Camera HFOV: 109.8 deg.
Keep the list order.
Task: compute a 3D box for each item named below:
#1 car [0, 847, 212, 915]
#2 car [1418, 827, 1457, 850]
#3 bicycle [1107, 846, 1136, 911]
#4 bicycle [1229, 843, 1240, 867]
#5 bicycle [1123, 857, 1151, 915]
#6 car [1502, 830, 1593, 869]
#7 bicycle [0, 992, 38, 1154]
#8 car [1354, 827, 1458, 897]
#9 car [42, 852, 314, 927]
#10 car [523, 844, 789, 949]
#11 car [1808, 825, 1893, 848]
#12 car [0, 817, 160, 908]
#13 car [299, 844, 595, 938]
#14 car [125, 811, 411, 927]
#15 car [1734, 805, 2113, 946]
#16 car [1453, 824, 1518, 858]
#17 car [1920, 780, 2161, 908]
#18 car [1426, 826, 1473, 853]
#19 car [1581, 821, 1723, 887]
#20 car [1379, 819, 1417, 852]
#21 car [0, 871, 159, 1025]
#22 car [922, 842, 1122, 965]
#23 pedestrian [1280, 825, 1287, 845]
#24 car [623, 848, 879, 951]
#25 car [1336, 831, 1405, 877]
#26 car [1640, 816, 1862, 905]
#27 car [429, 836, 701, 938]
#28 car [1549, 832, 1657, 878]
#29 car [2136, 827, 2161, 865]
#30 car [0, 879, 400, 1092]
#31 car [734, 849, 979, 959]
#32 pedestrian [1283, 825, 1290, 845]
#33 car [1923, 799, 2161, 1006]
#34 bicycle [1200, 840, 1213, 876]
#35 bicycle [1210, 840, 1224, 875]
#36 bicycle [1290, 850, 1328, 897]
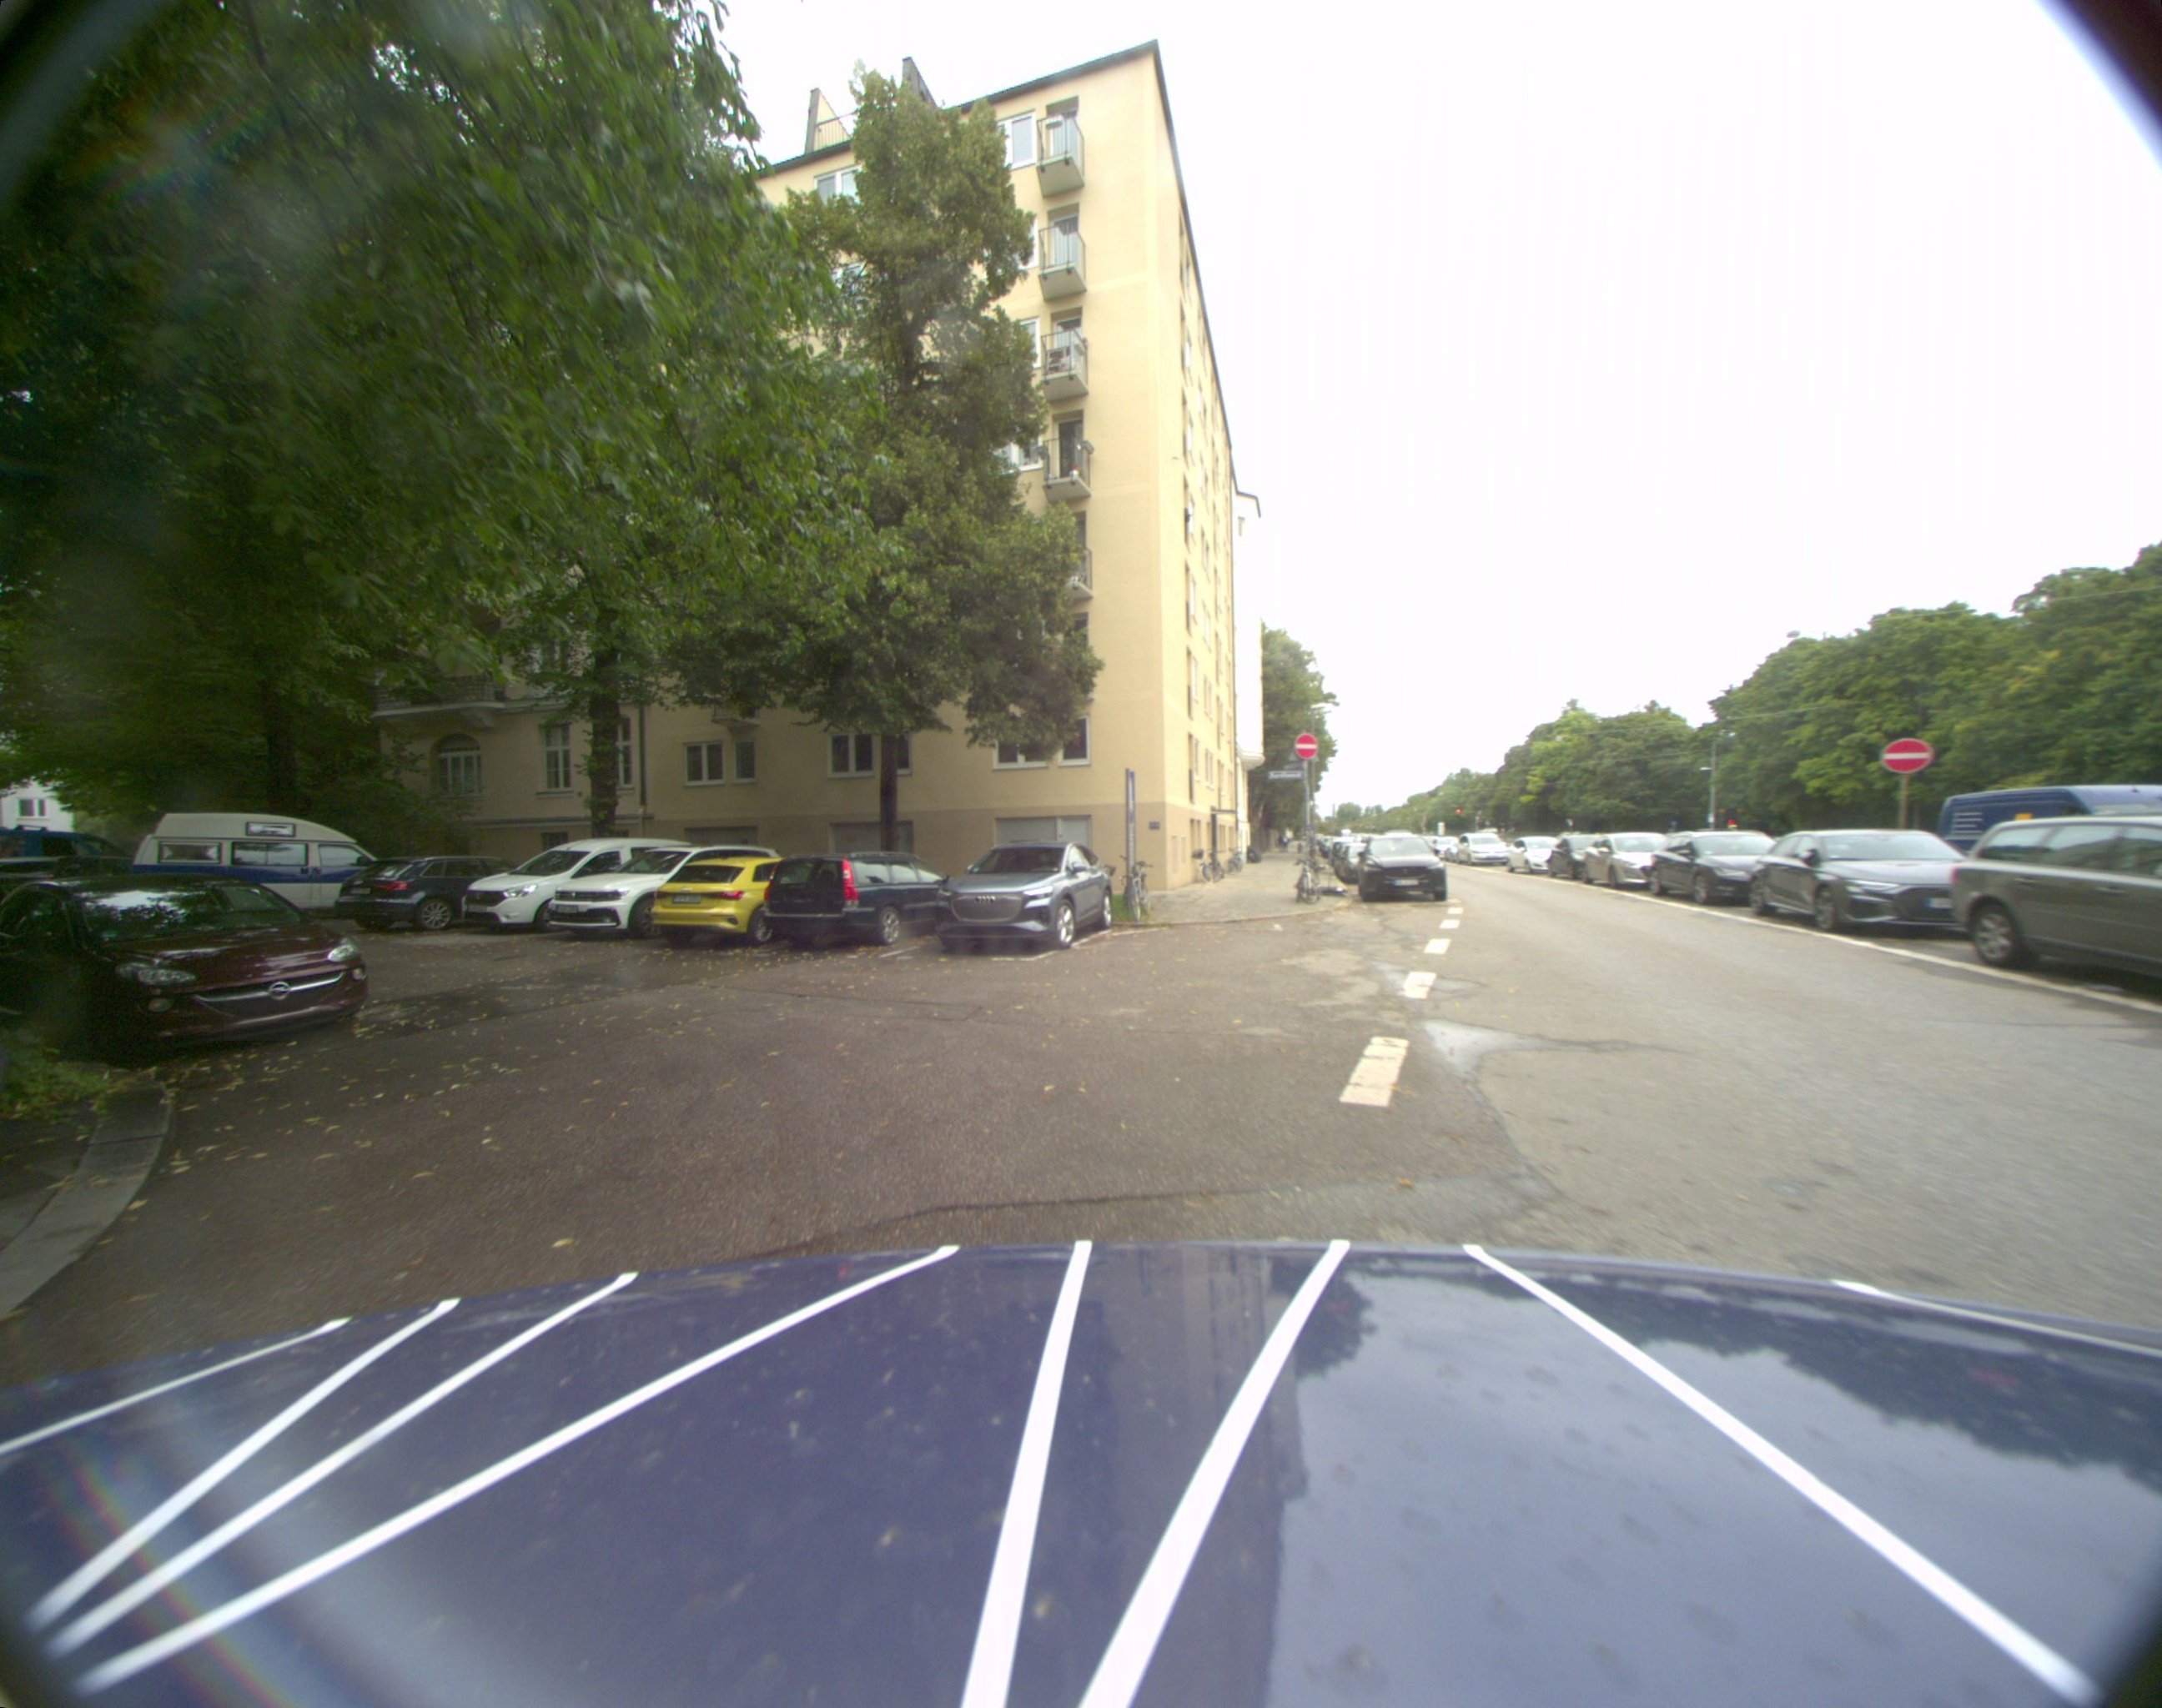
[{"bbox_3d":[-26.341,0.658,20.072,4.116,1.594,1.898,-2,2,-38],"label":"car"},{"bbox_3d":[26.297,-1.166,56.175,1.948,1.676,4.003,0,2,15],"label":"car"},{"bbox_3d":[0.824,0.467,15.249,0.282,1.224,1.240,0,2,16],"label":"bicycle"},{"bbox_3d":[6.691,0.022,33.197,0.462,0.999,1.320,-1,1,11],"label":"bicycle"},{"bbox_3d":[1.100,0.596,14.883,0.282,1.055,1.240,0,2,16],"label":"bicycle"},{"bbox_3d":[18.671,-0.208,30.635,1.990,1.448,4.286,-1,1,15],"label":"car"},{"bbox_3d":[-6.395,1.268,3.952,0.249,0.875,1.081,0,2,26],"label":"bicycle"},{"bbox_3d":[8.167,0.139,19.511,2.126,1.556,4.512,-2,1,19],"label":"car"},{"bbox_3d":[-22.957,0.822,19.620,4.116,1.594,1.899,-2,2,-36],"label":"car"},{"bbox_3d":[-7.746,0.663,14.415,1.914,1.611,4.249,-1,1,15],"label":"car"},{"bbox_3d":[50.538,-1.164,50.031,1.996,1.438,4.322,0,2,14],"label":"car"},{"bbox_3d":[-29.260,0.218,20.823,4.699,2.398,1.973,-2,2,-39],"label":"car"},{"bbox_3d":[-12.637,0.635,15.571,1.914,1.590,4.249,-1,1,16],"label":"car"},{"bbox_3d":[-18.209,0.227,17.252,1.898,2.300,4.189,0,2,41],"label":"car"},{"bbox_3d":[11.283,0.187,10.712,1.989,1.556,4.289,0,2,24],"label":"car"},{"bbox_3d":[21.901,-0.740,41.375,2.072,1.693,5.095,-1,1,16],"label":"car"},{"bbox_3d":[22.149,-0.329,17.009,2.186,2.450,5.858,-1,2,22],"label":"car"},{"bbox_3d":[24.996,-1.008,51.644,2.072,1.693,4.564,-1,1,15],"label":"car"},{"bbox_3d":[14.978,-0.060,20.234,1.989,1.556,4.288,-1,2,22],"label":"car"},{"bbox_3d":[22.265,-1.318,53.502,1.854,2.198,4.557,-1,2,16],"label":"car"},{"bbox_3d":[-12.659,0.984,8.323,4.038,1.488,1.735,-1,2,16],"label":"car"},{"bbox_3d":[-0.711,0.627,12.205,1.823,1.556,4.249,-1,1,15],"label":"car"},{"bbox_3d":[20.117,-1.911,75.452,0.458,2.002,0.618,-1,2,1],"label":"pedestrian"},{"bbox_3d":[-5.611,0.670,13.614,1.914,1.459,4.249,-1,1,15],"label":"car"},{"bbox_3d":[10.935,-0.047,29.000,2.127,1.556,4.512,-2,1,17],"label":"car"},{"bbox_3d":[13.354,0.065,15.534,1.989,1.556,4.288,-1,2,20],"label":"car"},{"bbox_3d":[-10.140,0.534,15.398,1.914,1.741,4.249,-1,2,16],"label":"car"},{"bbox_3d":[16.866,-0.028,24.796,1.764,1.362,4.287,-1,1,18],"label":"car"},{"bbox_3d":[43.572,-0.270,28.564,1.996,1.526,4.711,0,2,15],"label":"car"},{"bbox_3d":[-8.596,1.025,7.090,3.700,1.488,1.736,-1,2,20],"label":"car"},{"bbox_3d":[-3.560,0.708,13.025,2.051,1.459,4.249,-1,1,15],"label":"car"},{"bbox_3d":[20.623,-1.931,76.230,0.458,2.002,0.618,-1,2,1],"label":"pedestrian"},{"bbox_3d":[9.200,0.341,5.809,1.900,1.556,4.777,0,2,24],"label":"car"},{"bbox_3d":[4.115,0.119,24.887,0.363,1.164,1.319,-1,1,8],"label":"bicycle"},{"bbox_3d":[4.745,0.108,26.531,0.400,1.164,1.319,-1,1,8],"label":"bicycle"},{"bbox_3d":[5.434,0.434,18.055,0.631,1.032,1.738,0,2,24],"label":"bicycle"}]
